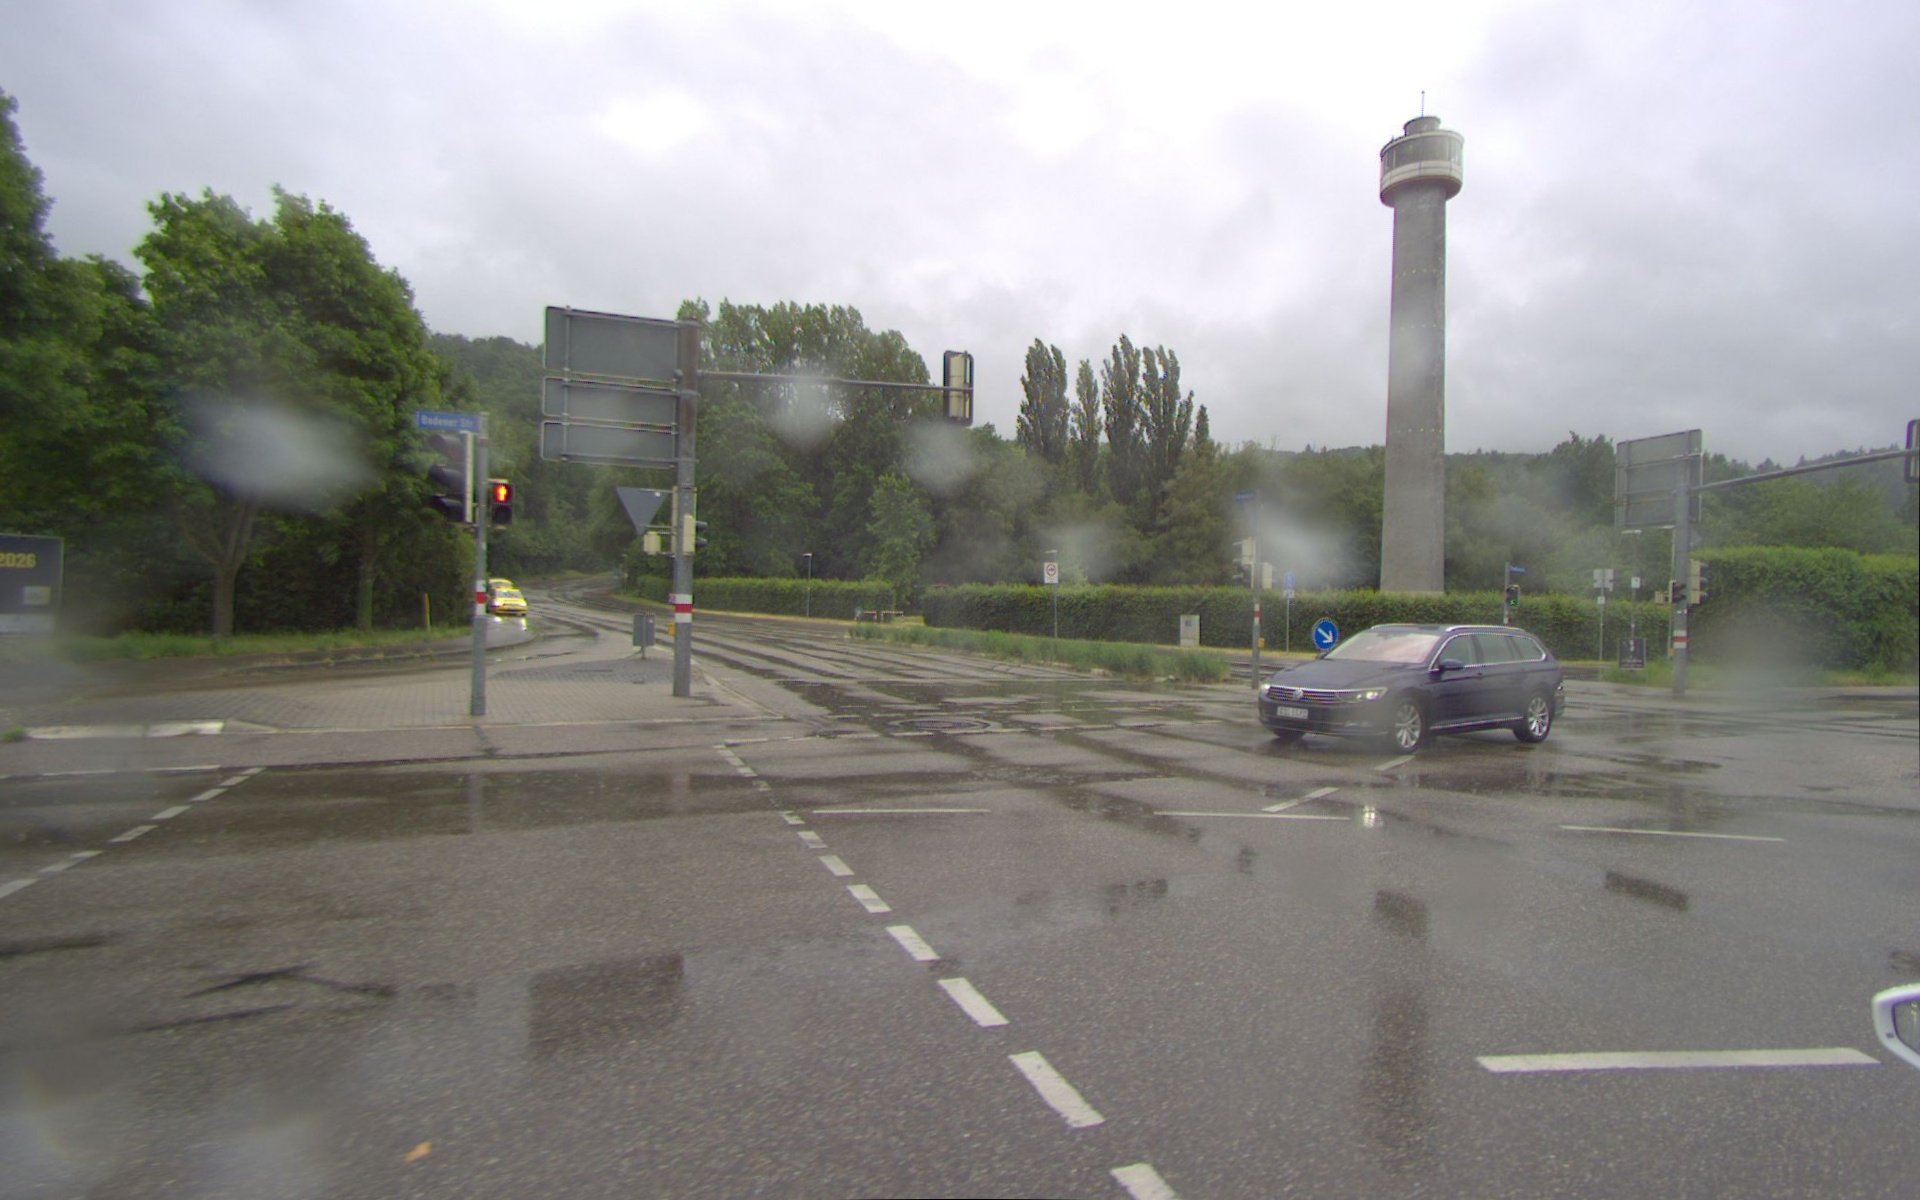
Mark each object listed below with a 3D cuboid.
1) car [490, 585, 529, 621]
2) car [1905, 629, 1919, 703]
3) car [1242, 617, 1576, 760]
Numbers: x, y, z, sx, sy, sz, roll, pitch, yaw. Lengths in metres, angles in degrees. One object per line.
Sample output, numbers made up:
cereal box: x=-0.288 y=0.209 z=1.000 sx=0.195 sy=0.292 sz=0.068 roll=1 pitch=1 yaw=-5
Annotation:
car: x=-27.384 y=0.174 z=60.986 sx=1.792 sy=2.054 sz=3.653 roll=1 pitch=1 yaw=-30
car: x=24.517 y=1.586 z=23.801 sx=4.018 sy=1.731 sz=2.027 roll=1 pitch=0 yaw=-30
car: x=5.727 y=1.019 z=12.641 sx=4.404 sy=1.485 sz=1.699 roll=2 pitch=-1 yaw=-33
